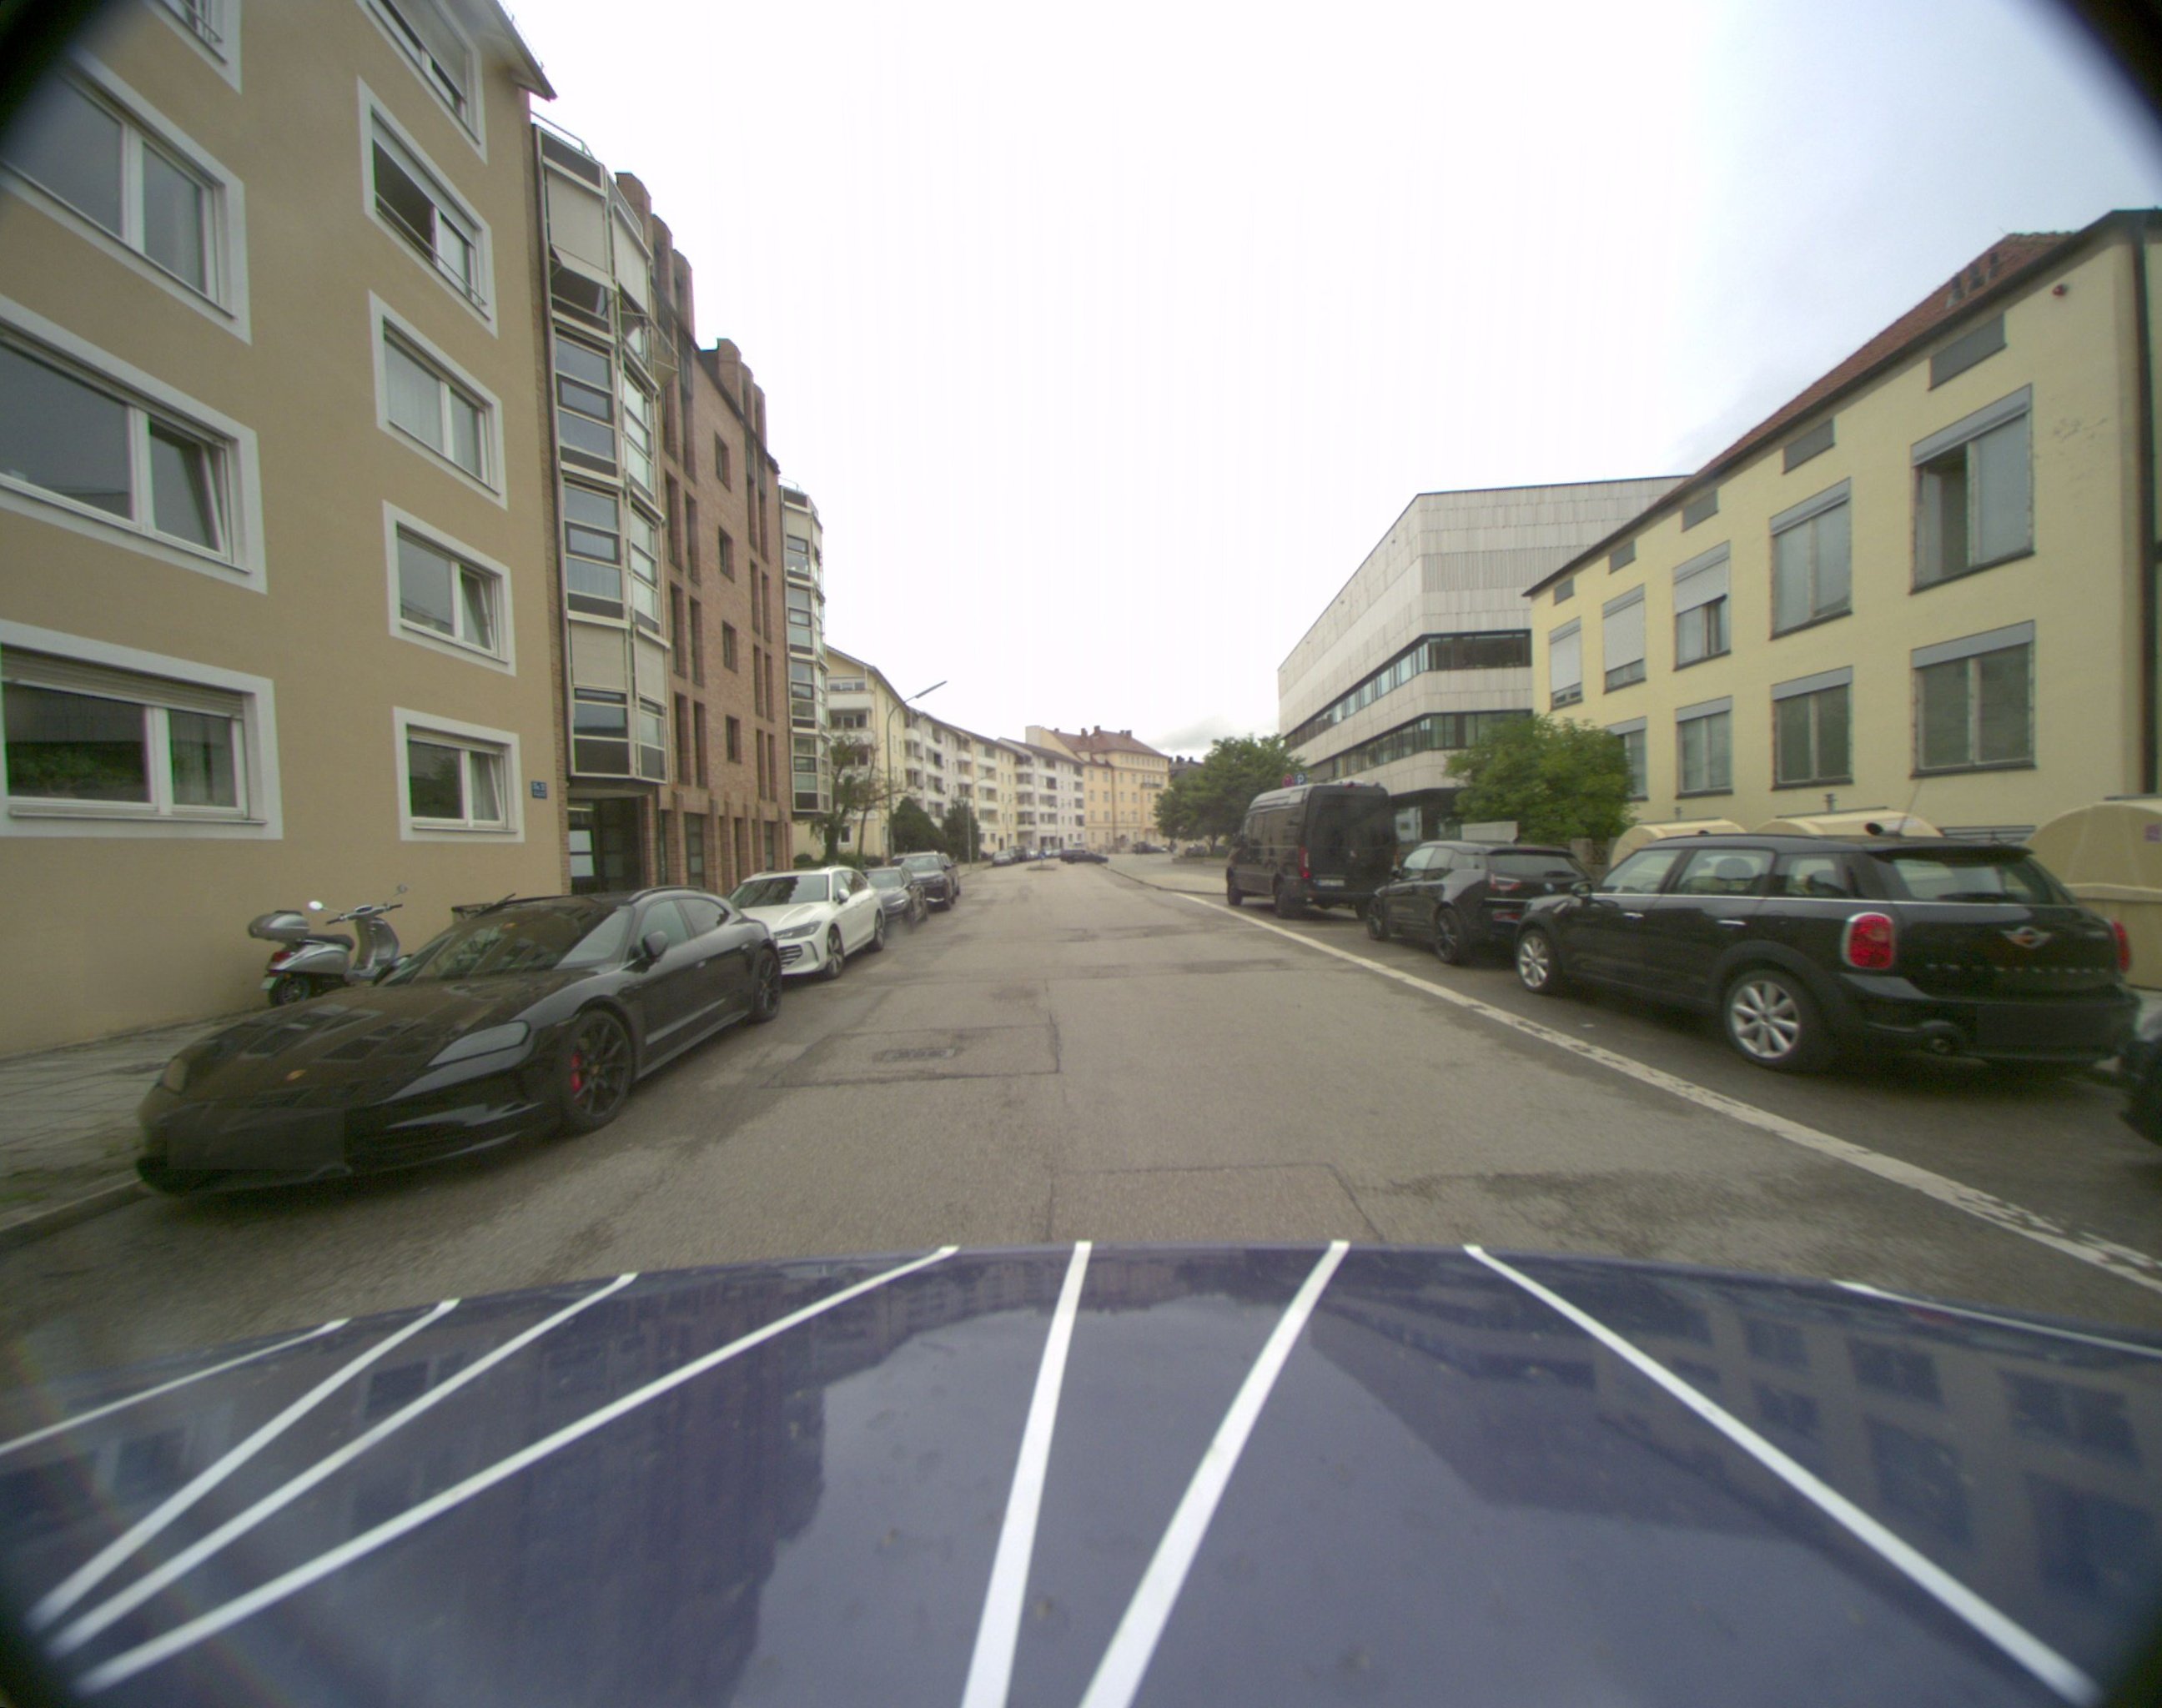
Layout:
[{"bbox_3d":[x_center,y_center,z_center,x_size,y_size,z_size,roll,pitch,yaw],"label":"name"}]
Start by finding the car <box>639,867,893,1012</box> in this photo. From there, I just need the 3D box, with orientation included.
[{"bbox_3d":[-4.158,1.018,10.958,1.896,1.454,4.488,-2,1,-3],"label":"car"}]

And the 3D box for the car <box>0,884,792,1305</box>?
[{"bbox_3d":[-3.879,1.118,5.501,1.895,1.388,4.488,-5,1,-2],"label":"car"}]

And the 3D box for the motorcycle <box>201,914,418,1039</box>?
[{"bbox_3d":[-8.832,1.347,8.827,0.629,1.119,1.798,-2,1,0],"label":"motorcycle"}]

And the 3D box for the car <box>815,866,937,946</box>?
[{"bbox_3d":[-4.245,1.008,16.358,1.742,1.332,4.163,-2,1,-5],"label":"car"}]

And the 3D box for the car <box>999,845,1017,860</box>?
[{"bbox_3d":[-7.532,-0.149,78.761,1.757,1.445,3.567,-3,1,-6],"label":"car"}]

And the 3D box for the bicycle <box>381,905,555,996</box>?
[{"bbox_3d":[-9.119,1.383,11.475,0.712,1.013,2.398,-2,1,-3],"label":"bicycle"}]

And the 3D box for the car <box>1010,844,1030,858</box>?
[{"bbox_3d":[-7.327,-0.362,91.625,1.755,1.533,3.571,-2,1,6],"label":"car"}]

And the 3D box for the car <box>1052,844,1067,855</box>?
[{"bbox_3d":[-3.048,-0.661,109.248,1.755,1.445,3.570,-2,1,5],"label":"car"}]

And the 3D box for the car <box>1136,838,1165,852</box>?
[{"bbox_3d":[9.866,-1.226,108.416,3.996,1.849,2.000,-2,1,4],"label":"car"}]

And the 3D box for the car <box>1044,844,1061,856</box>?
[{"bbox_3d":[-3.856,-0.573,103.150,1.755,1.445,3.570,-2,1,5],"label":"car"}]

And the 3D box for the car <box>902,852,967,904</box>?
[{"bbox_3d":[-5.001,0.751,26.447,1.742,1.570,4.127,-2,1,-5],"label":"car"}]

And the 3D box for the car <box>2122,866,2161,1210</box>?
[{"bbox_3d":[5.075,0.798,1.128,1.699,1.397,4.001,1,1,5],"label":"car"}]

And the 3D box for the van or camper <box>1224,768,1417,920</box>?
[{"bbox_3d":[4.984,-0.225,16.914,2.141,2.792,5.569,1,1,-4],"label":"van or camper"}]

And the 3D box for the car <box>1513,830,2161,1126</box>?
[{"bbox_3d":[5.320,0.622,5.959,1.699,1.553,3.867,1,1,2],"label":"car"}]

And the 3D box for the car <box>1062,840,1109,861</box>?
[{"bbox_3d":[0.379,-0.328,71.533,4.247,1.849,1.999,-2,1,-2],"label":"car"}]

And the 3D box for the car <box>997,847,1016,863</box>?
[{"bbox_3d":[-7.308,0.098,74.312,1.757,1.445,3.567,-3,1,-6],"label":"car"}]

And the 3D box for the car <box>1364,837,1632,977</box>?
[{"bbox_3d":[5.428,0.565,10.510,1.642,1.553,3.838,1,1,2],"label":"car"}]

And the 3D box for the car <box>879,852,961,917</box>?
[{"bbox_3d":[-4.448,0.786,21.491,1.742,1.570,3.832,-2,1,-5],"label":"car"}]

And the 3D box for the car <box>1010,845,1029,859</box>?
[{"bbox_3d":[-6.727,-0.236,83.811,1.756,1.445,3.569,-3,1,0],"label":"car"}]
